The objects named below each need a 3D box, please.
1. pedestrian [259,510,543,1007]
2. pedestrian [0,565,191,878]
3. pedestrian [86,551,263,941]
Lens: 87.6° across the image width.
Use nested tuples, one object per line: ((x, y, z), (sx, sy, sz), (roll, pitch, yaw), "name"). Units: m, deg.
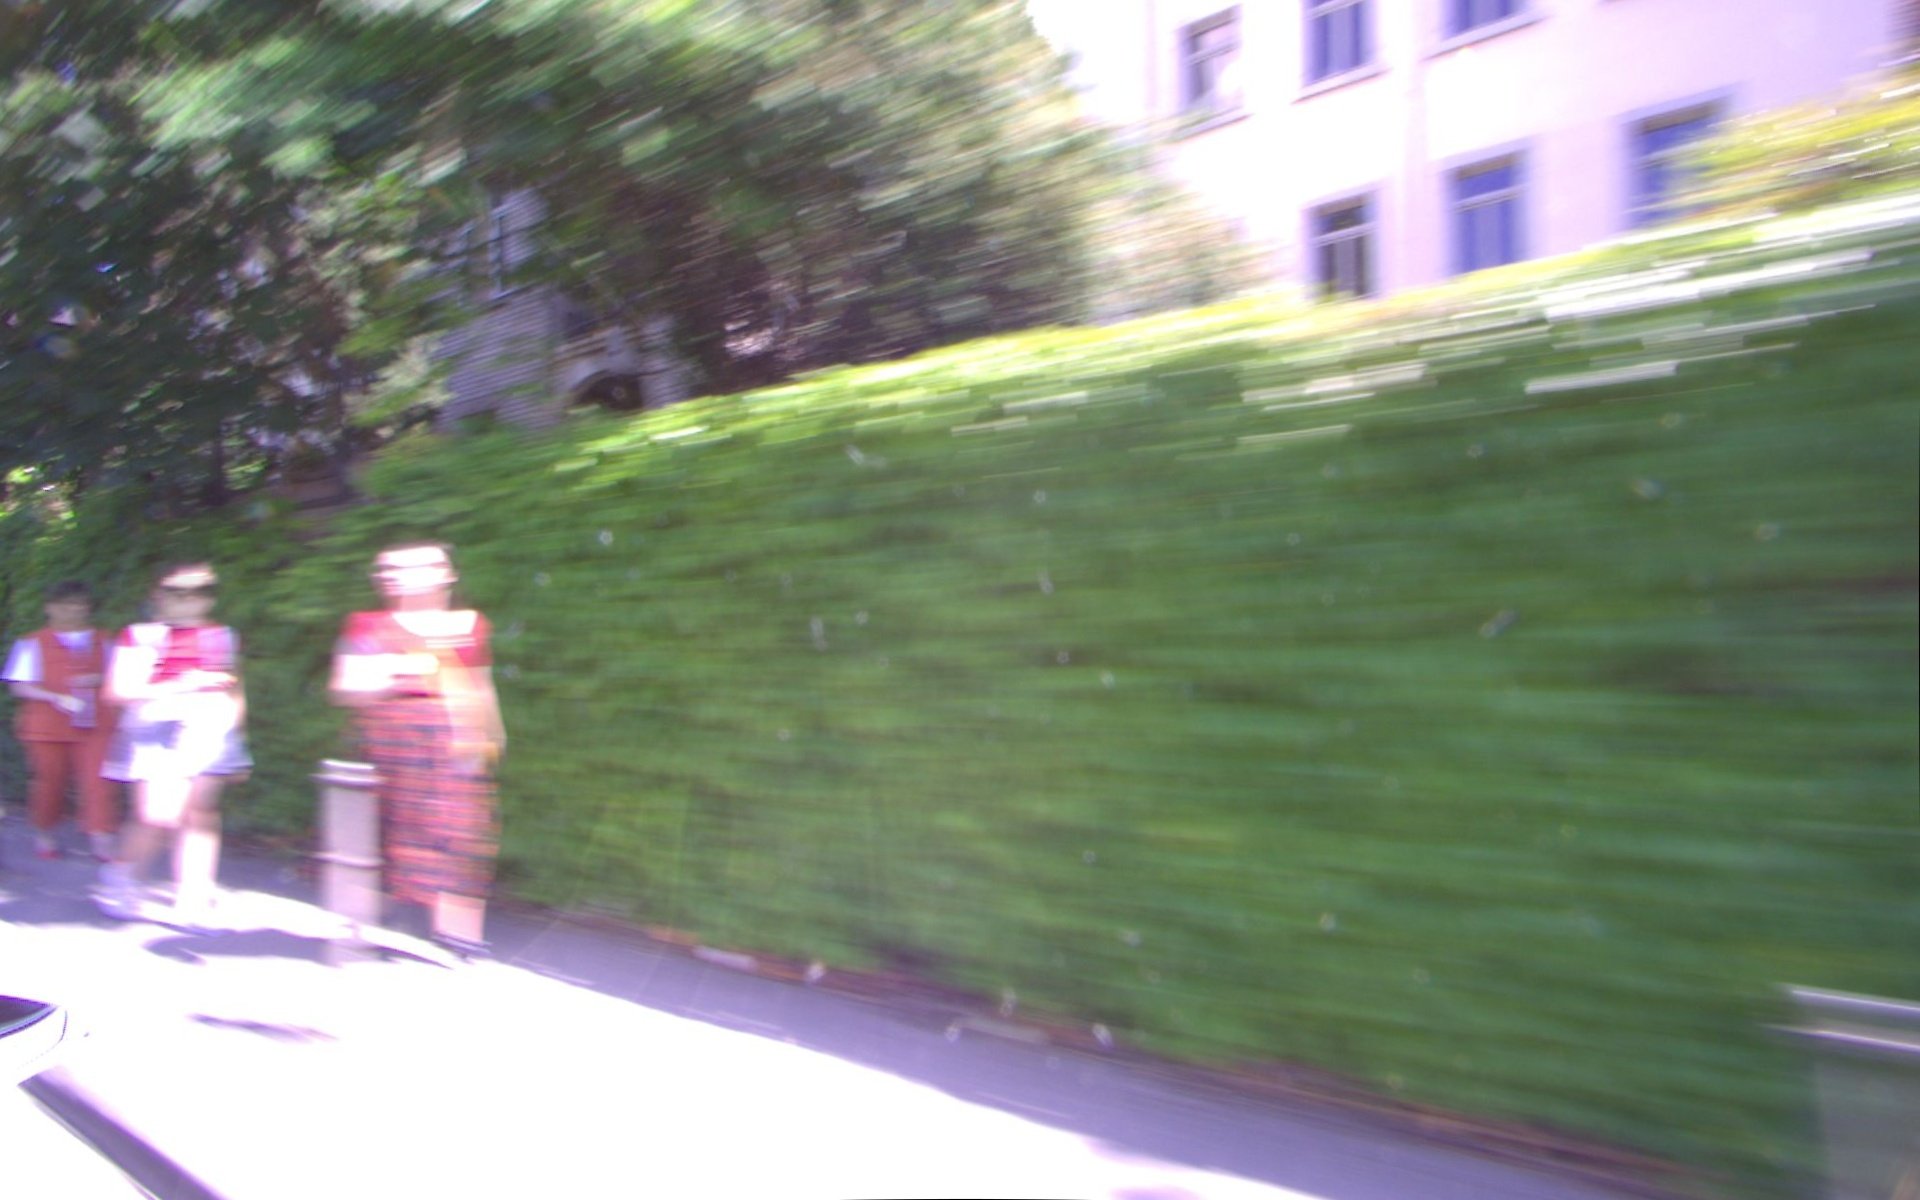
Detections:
((-2.274, 0.568, 4.086), (0.900, 1.765, 0.679), (0, 0, 34), "pedestrian")
((-5.127, 0.648, 5.853), (0.907, 1.655, 0.734), (0, 0, 32), "pedestrian")
((-3.541, 0.615, 4.518), (0.571, 1.627, 0.454), (0, 0, 32), "pedestrian")
